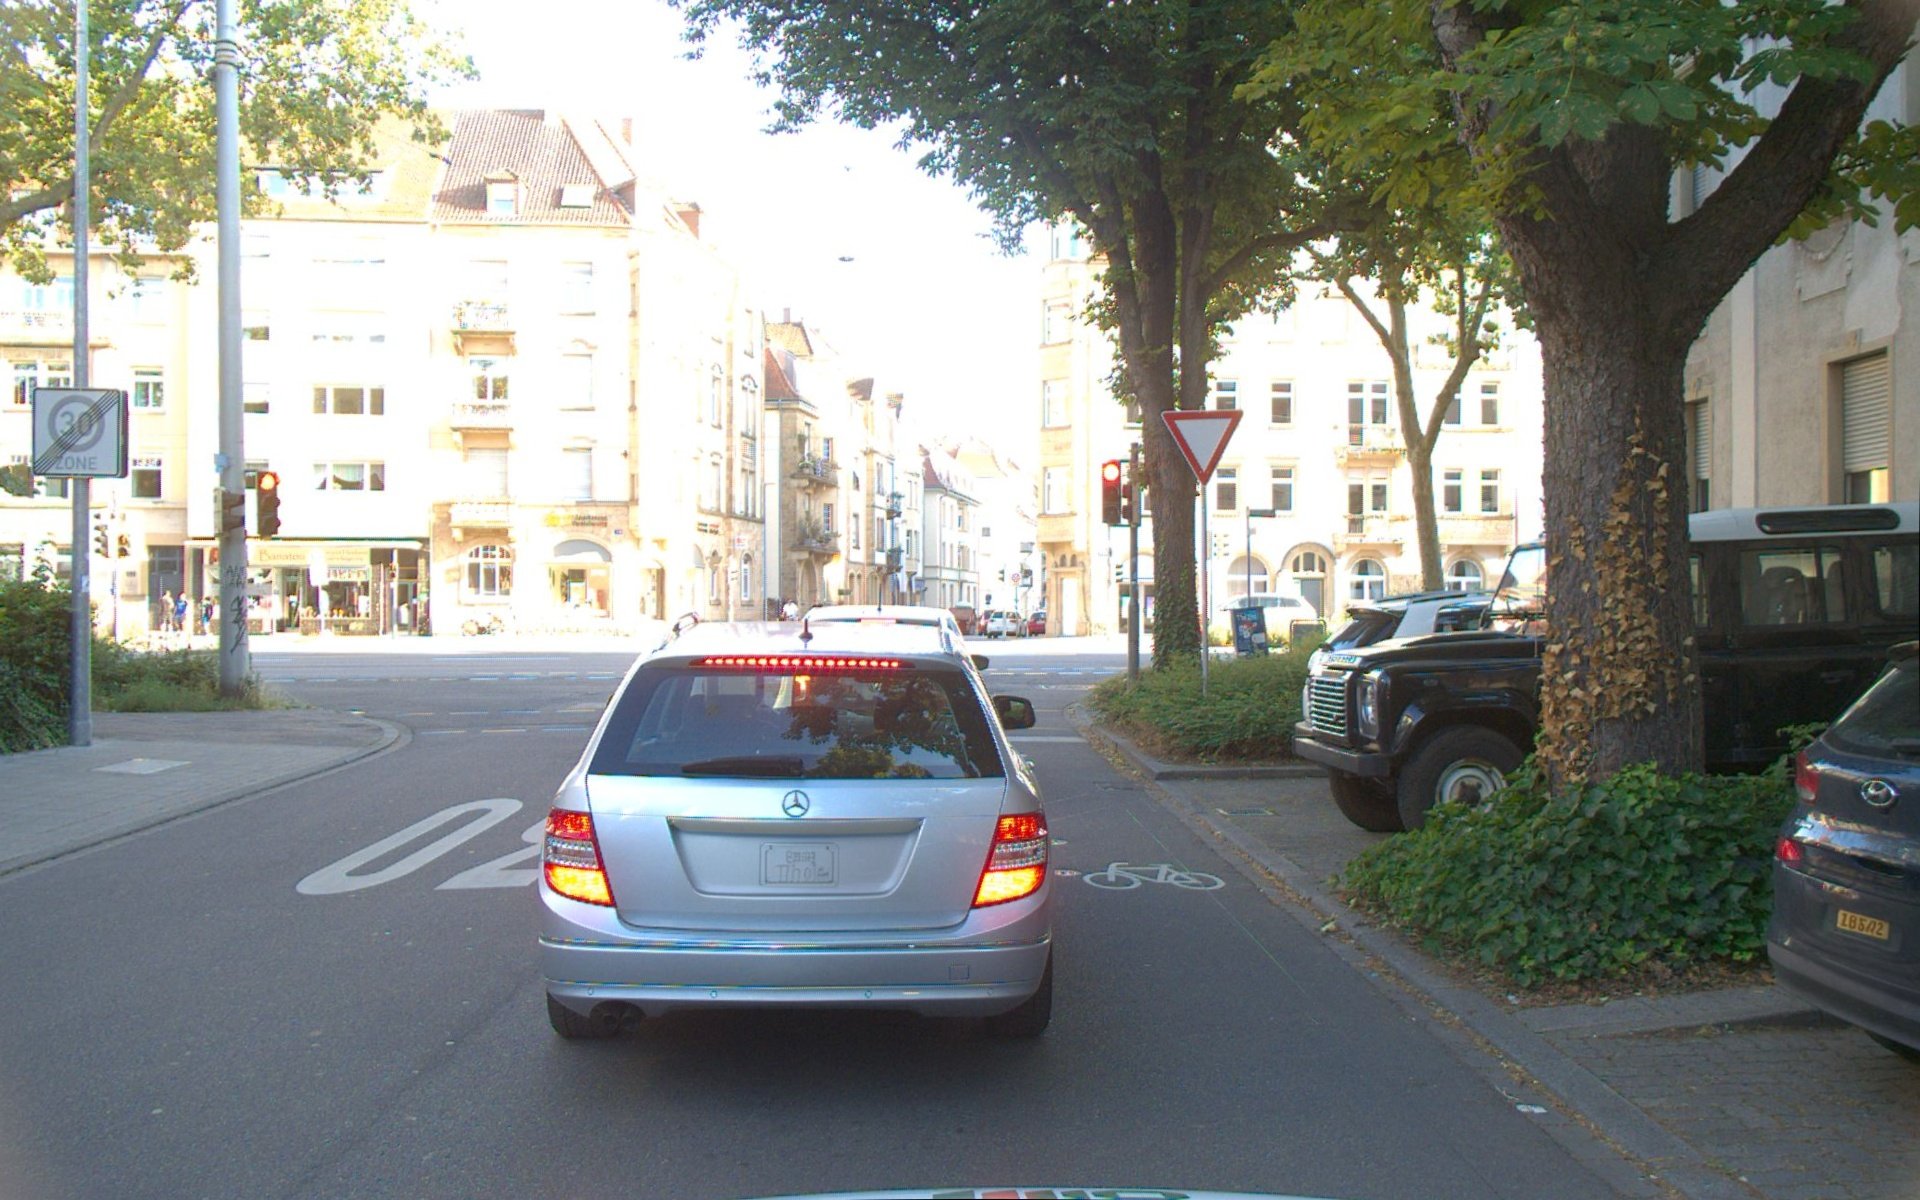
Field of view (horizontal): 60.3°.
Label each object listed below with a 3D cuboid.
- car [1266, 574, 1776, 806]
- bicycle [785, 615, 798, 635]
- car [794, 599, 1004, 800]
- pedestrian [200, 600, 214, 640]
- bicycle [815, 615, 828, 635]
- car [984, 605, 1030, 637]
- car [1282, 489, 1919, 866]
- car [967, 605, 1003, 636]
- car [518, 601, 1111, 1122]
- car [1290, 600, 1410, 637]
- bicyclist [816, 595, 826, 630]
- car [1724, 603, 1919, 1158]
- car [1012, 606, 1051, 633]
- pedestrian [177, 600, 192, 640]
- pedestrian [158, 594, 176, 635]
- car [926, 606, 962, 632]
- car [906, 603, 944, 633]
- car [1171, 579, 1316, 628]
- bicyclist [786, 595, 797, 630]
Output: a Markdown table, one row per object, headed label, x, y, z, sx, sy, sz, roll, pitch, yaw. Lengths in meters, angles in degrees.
| label | x | y | z | sx | sy | sz | roll | pitch | yaw |
| --- | --- | --- | --- | --- | --- | --- | --- | --- | --- |
| car | 4.346 | 0.653 | 13.102 | 3.415 | 1.614 | 1.708 | -1 | 0 | -7 |
| bicycle | -7.449 | 1.104 | 73.168 | 0.557 | 0.849 | 1.564 | 0 | 0 | -4 |
| car | -0.508 | 0.715 | 13.677 | 1.502 | 1.415 | 3.597 | 0 | 0 | -2 |
| pedestrian | -28.922 | 0.767 | 63.548 | 0.466 | 1.537 | 0.428 | 0 | 0 | -21 |
| bicycle | -6.139 | 1.096 | 73.131 | 0.557 | 0.849 | 1.564 | 0 | 0 | -4 |
| car | 2.481 | 1.058 | 85.911 | 1.684 | 1.504 | 4.004 | -2 | 0 | 11 |
| car | 4.416 | 0.402 | 10.227 | 4.402 | 1.990 | 1.791 | -2 | 0 | -4 |
| car | 1.692 | 1.345 | 110.367 | 1.896 | 1.993 | 4.153 | 0 | 0 | 7 |
| car | -0.504 | 0.754 | 6.452 | 1.657 | 1.454 | 3.490 | 1 | 0 | -3 |
| car | 11.808 | 0.552 | 50.206 | 3.296 | 1.087 | 1.380 | 0 | 0 | -2 |
| bicyclist | -6.153 | 0.568 | 73.281 | 0.457 | 1.547 | 0.693 | 0 | 0 | -4 |
| car | 4.329 | 0.681 | 4.559 | 3.675 | 1.446 | 1.627 | -2 | -1 | -4 |
| car | 4.447 | 1.189 | 102.138 | 1.684 | 1.503 | 4.004 | -4 | 0 | 11 |
| pedestrian | -30.022 | 0.777 | 64.004 | 0.502 | 1.537 | 0.532 | 0 | 0 | -28 |
| pedestrian | -29.929 | 0.532 | 62.450 | 0.557 | 1.537 | 0.499 | 0 | 0 | -20 |
| car | -1.037 | 1.246 | 108.714 | 1.615 | 1.632 | 3.866 | 0 | -1 | 10 |
| car | -2.122 | 1.100 | 102.368 | 1.615 | 1.814 | 3.866 | 0 | -1 | 10 |
| car | 8.850 | 0.110 | 51.842 | 4.199 | 1.487 | 1.786 | 0 | 1 | -2 |
| bicyclist | -7.449 | 0.562 | 73.242 | 0.457 | 1.541 | 0.655 | 0 | 0 | -4 |
